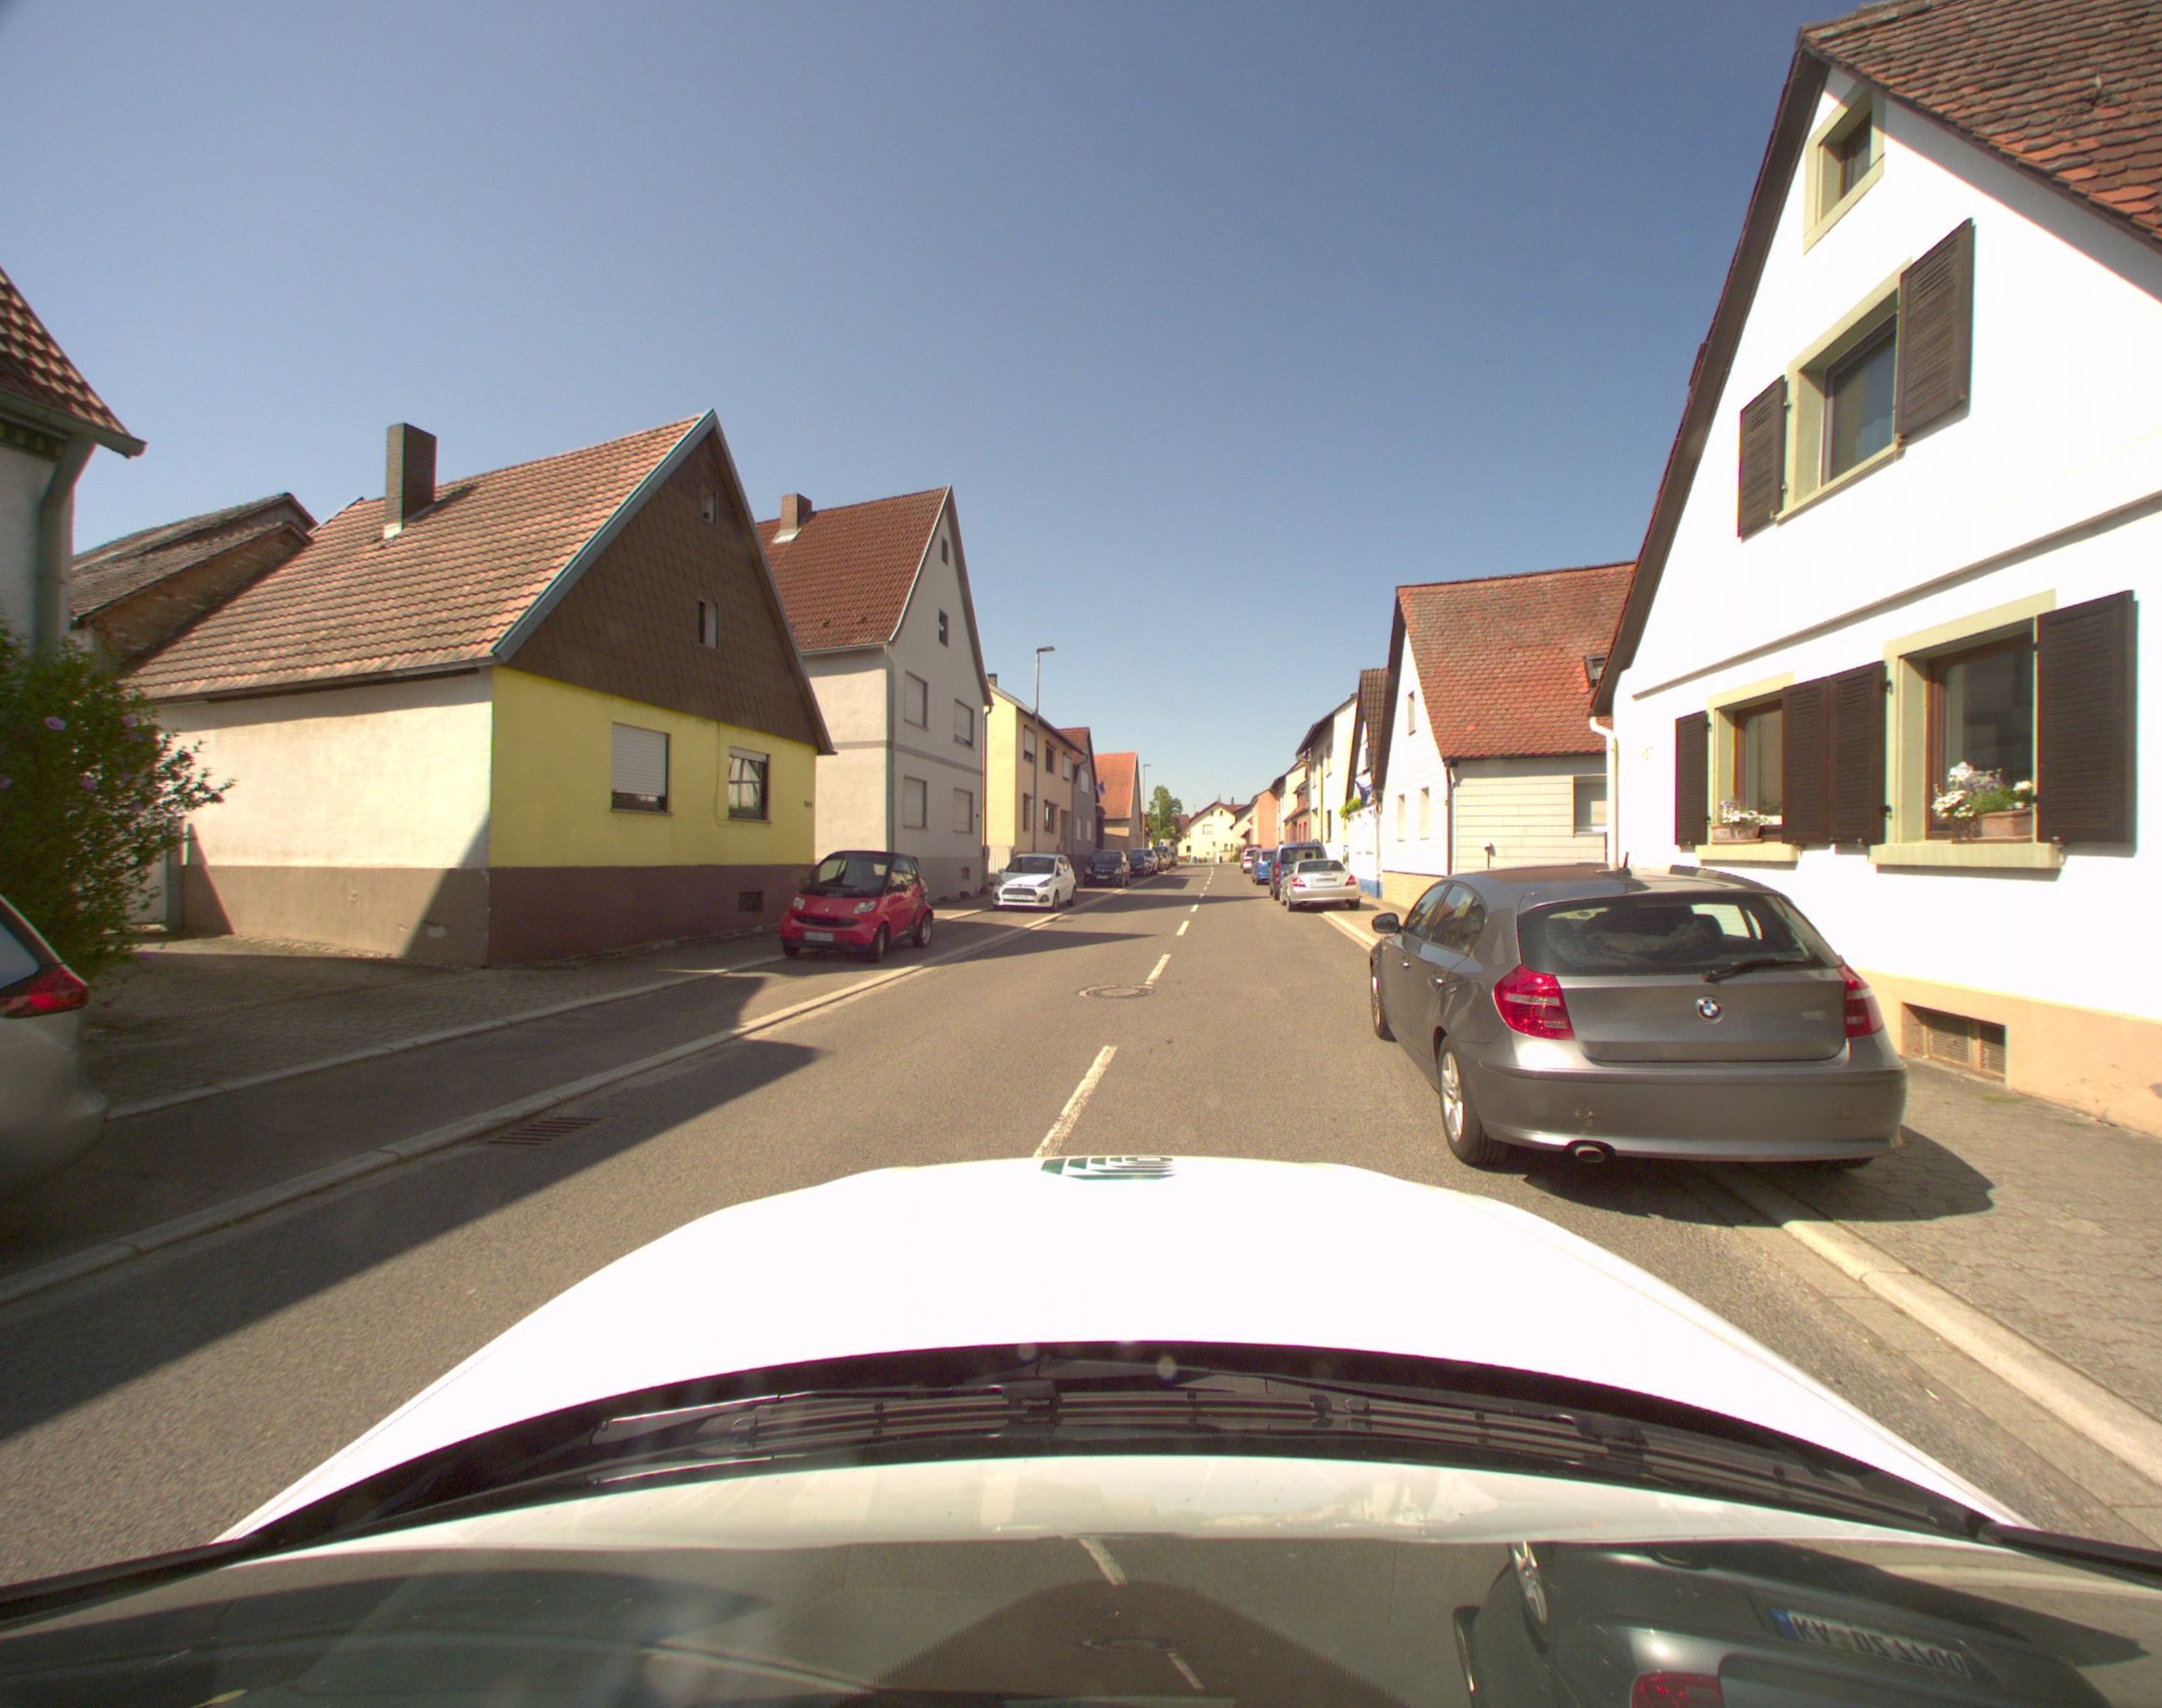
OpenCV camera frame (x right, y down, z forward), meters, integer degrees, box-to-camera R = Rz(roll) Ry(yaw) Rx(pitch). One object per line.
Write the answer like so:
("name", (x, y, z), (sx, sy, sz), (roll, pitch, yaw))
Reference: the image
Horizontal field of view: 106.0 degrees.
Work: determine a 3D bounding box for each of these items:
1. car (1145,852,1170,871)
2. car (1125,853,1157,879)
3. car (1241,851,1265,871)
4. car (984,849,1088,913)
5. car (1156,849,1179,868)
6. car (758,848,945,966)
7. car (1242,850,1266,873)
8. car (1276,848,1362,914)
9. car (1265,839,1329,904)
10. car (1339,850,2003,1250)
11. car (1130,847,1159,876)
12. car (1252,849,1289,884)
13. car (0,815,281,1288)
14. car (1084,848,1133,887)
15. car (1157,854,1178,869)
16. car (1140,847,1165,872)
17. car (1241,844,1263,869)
("car", (6.112, 0.615, 64.846), (1.744, 1.442, 4.010), (0, -1, 9))
("car", (3.531, 0.716, 47.434), (1.495, 1.453, 3.519), (0, -1, 10))
("car", (13.212, 0.539, 62.635), (1.755, 1.433, 3.460), (0, -1, 11))
("car", (-1.122, 0.675, 22.570), (1.794, 1.548, 4.417), (1, 0, 11))
("car", (7.687, 0.437, 72.276), (1.743, 1.624, 4.011), (0, -1, 10))
("car", (-3.368, 0.715, 12.494), (1.542, 1.544, 2.997), (1, 0, 11))
("car", (11.596, 0.486, 54.661), (1.412, 1.515, 3.312), (1, 0, 9))
("car", (6.178, 0.672, 21.444), (1.694, 1.496, 3.461), (-4, -1, 9))
("car", (6.930, 0.529, 26.422), (1.639, 1.910, 3.635), (1, 0, 9))
("car", (2.769, 0.738, 4.980), (1.694, 1.433, 3.900), (-2, -1, 9))
("car", (4.067, 0.454, 51.775), (1.518, 1.713, 3.635), (1, 0, 9))
("car", (8.622, 0.538, 37.265), (1.412, 1.515, 3.312), (1, 0, 9))
("car", (-4.998, 0.661, 1.515), (1.860, 1.636, 4.681), (1, 0, 13))
("car", (1.255, 0.568, 35.652), (1.609, 1.577, 3.972), (1, 0, 9))
("car", (8.689, 0.779, 81.778), (1.743, 1.442, 4.012), (0, -1, 11))
("car", (5.168, 0.374, 58.722), (1.518, 1.713, 3.635), (1, 0, 9))
("car", (14.187, 0.217, 67.593), (1.755, 2.004, 3.460), (0, -1, 11))
